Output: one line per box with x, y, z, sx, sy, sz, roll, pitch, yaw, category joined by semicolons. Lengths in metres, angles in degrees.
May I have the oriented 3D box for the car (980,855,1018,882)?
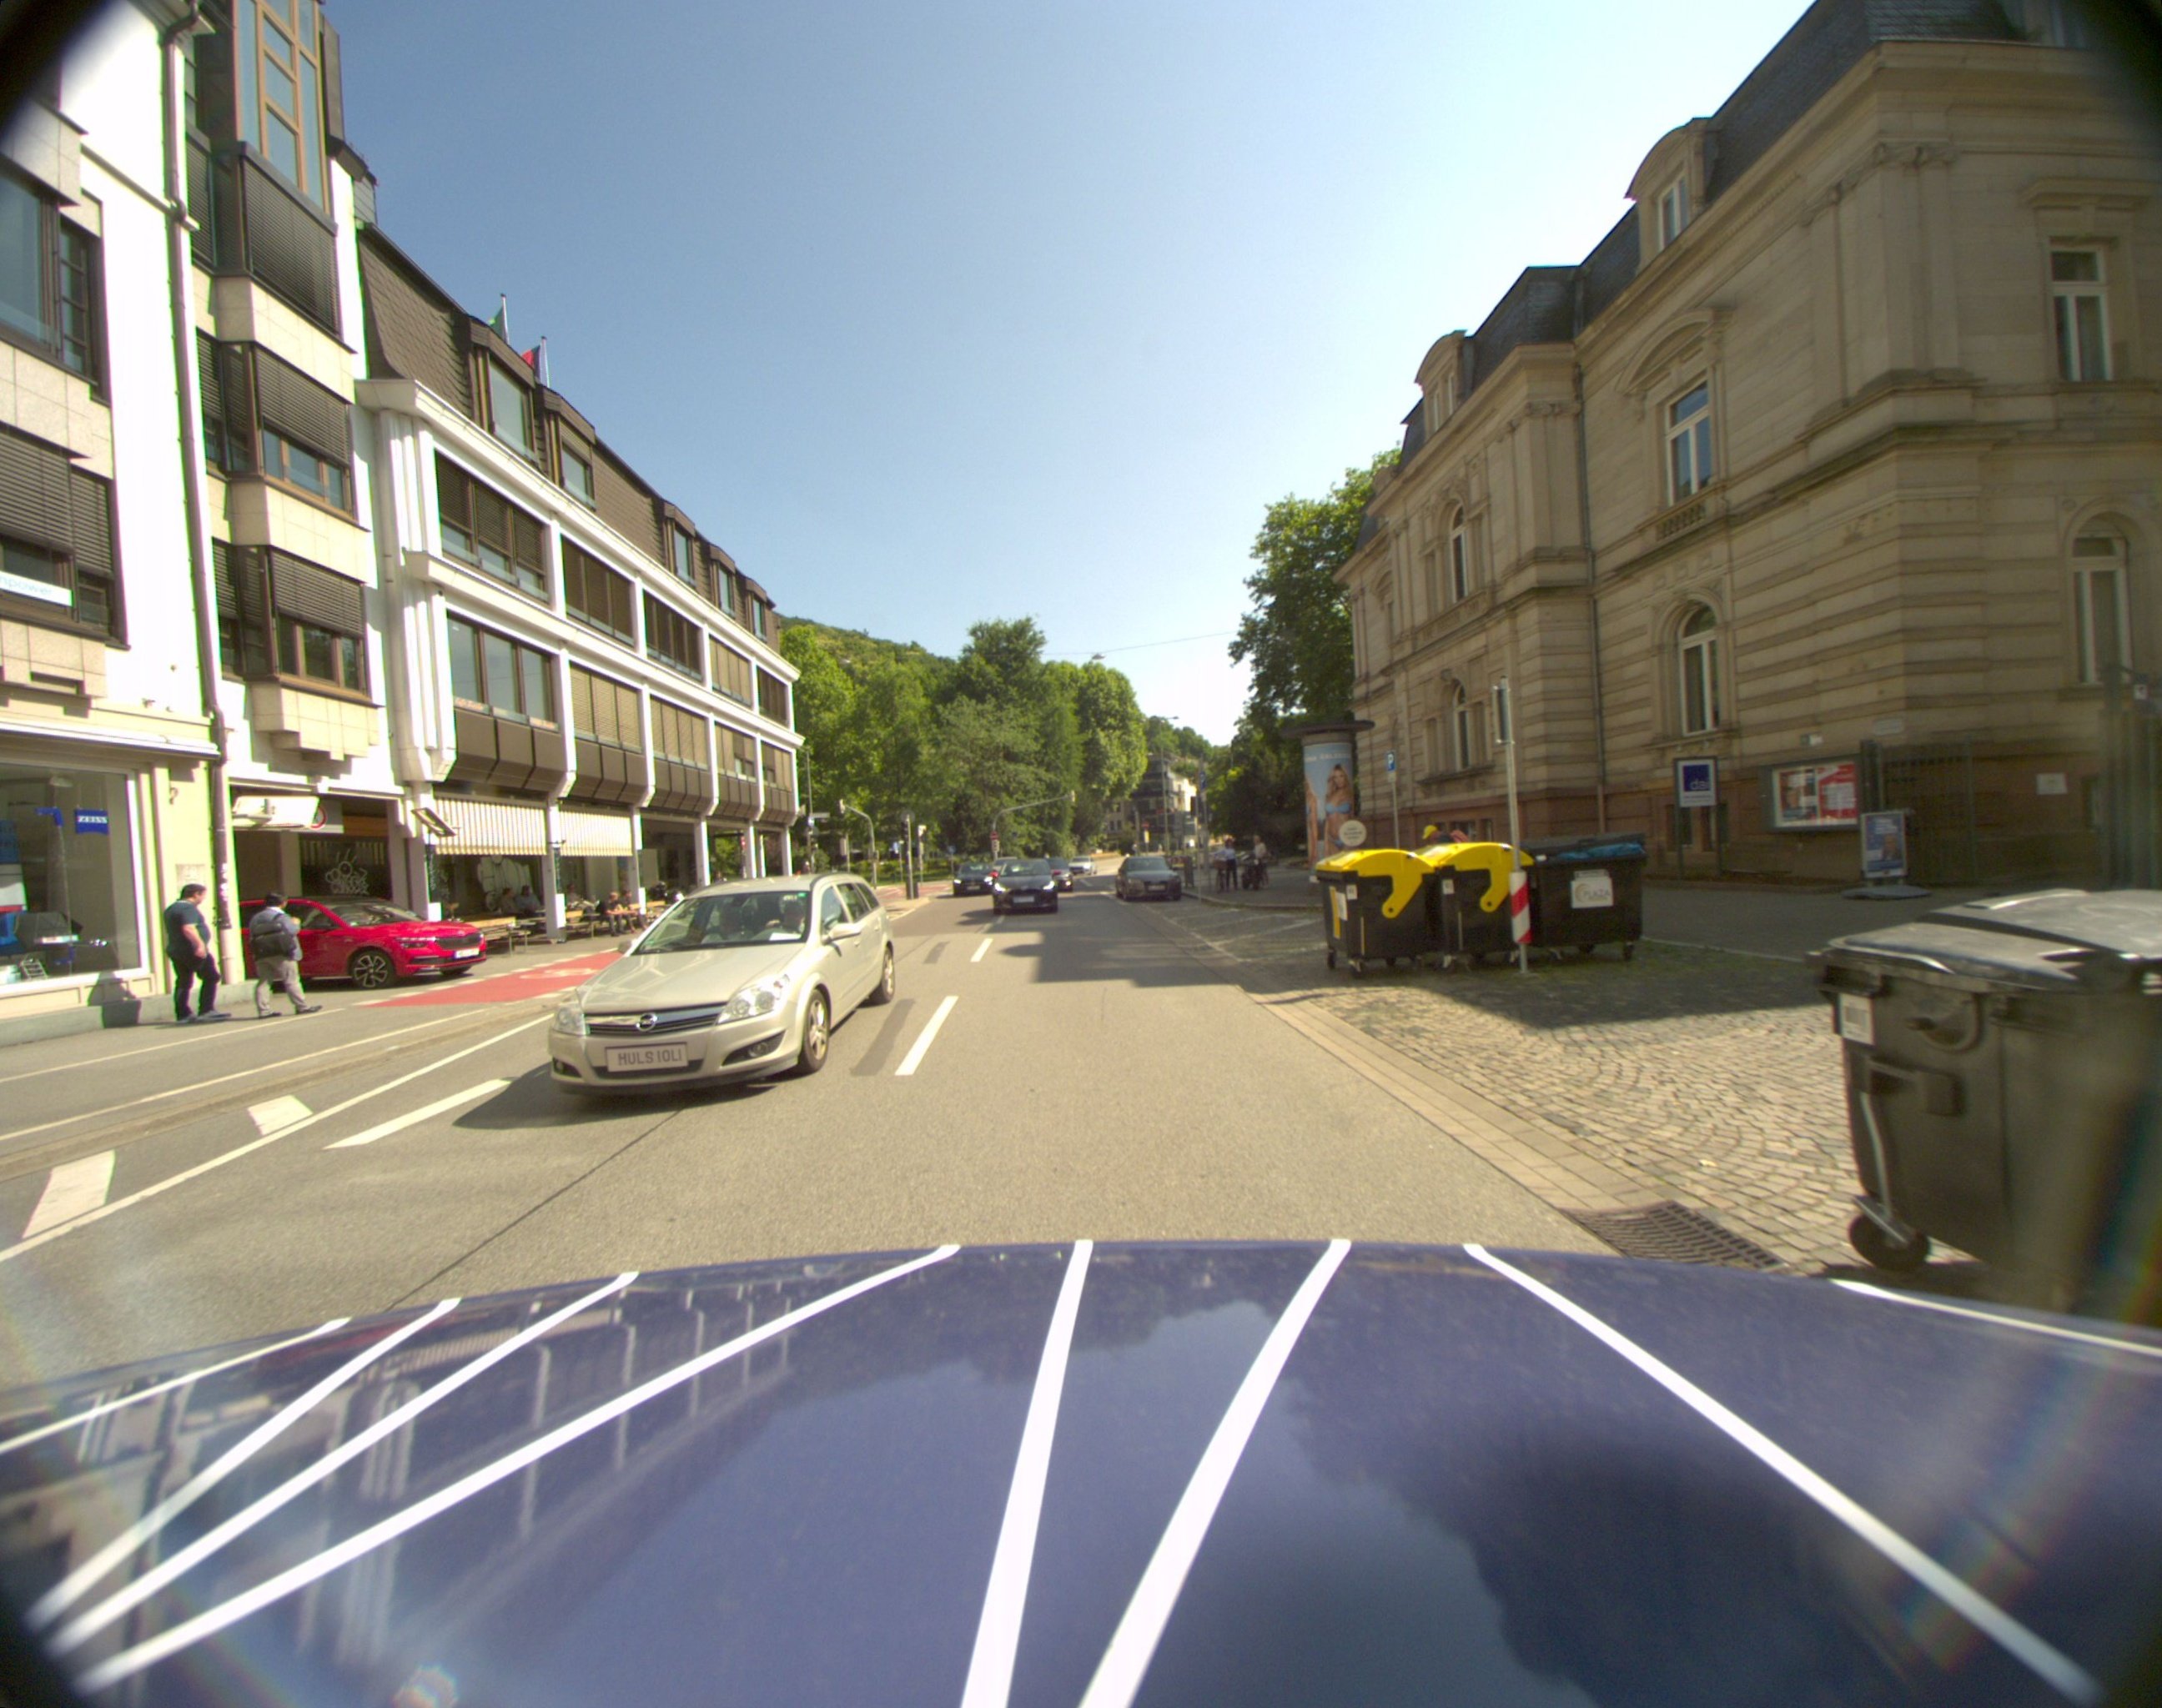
-4.902;0.836;45.941;1.942;1.421;4.341;-3;1;-2;car

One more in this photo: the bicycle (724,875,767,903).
-17.027;1.748;38.553;1.862;1.309;0.529;-2;0;-41;bicycle

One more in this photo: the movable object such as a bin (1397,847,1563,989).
4.600;0.700;8.918;1.126;1.442;1.439;-5;0;4;movable object such as a bin

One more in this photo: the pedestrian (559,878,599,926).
-15.699;1.491;23.776;0.713;1.389;0.696;-3;2;-3;pedestrian

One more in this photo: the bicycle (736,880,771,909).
-13.992;1.704;32.536;0.277;1.114;2.244;-3;0;6;bicycle

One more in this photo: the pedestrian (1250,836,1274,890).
5.722;0.266;24.017;0.550;1.656;0.937;-3;2;6;pedestrian

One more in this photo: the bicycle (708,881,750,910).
-14.383;1.682;31.036;1.574;1.114;0.278;-2;1;4;bicycle

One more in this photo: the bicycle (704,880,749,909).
-14.716;1.683;31.551;1.720;1.114;0.278;-2;1;4;bicycle

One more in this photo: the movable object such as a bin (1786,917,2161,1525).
3.145;0.910;2.249;1.280;1.292;0.853;-4;1;-2;movable object such as a bin

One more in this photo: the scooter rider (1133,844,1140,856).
7.534;-0.544;102.975;0.822;1.662;0.710;-2;2;19;scooter rider

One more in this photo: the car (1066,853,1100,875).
0.225;0.734;56.797;1.940;1.421;4.551;-3;1;7;car

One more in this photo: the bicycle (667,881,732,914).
-15.053;1.717;29.975;2.243;1.114;0.277;-4;1;-10;bicycle

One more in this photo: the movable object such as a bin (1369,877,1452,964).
4.516;0.897;10.437;0.725;1.091;0.656;-5;0;-10;movable object such as a bin

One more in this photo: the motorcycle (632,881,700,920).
-15.000;1.678;27.462;2.238;1.283;0.950;-2;2;26;motorcycle

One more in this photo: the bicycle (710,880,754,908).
-14.689;1.691;31.947;1.720;1.114;0.278;-2;1;4;bicycle

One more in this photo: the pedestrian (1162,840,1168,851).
13.521;-1.388;122.487;0.710;1.663;0.535;-3;2;19;pedestrian

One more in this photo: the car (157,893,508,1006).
-12.533;1.553;12.947;4.055;1.486;1.841;-3;0;-1;car

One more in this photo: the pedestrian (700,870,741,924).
-11.712;1.386;24.695;0.834;1.654;0.697;-3;2;6;pedestrian

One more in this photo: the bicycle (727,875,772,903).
-16.639;1.739;38.195;1.971;1.309;0.529;-2;0;-41;bicycle

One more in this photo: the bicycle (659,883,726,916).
-14.993;1.739;29.359;2.244;1.090;0.277;-4;1;-16;bicycle

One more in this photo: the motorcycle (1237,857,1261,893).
5.297;0.642;24.029;0.454;0.992;2.161;-5;1;7;motorcycle

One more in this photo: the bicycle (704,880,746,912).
-14.374;1.687;30.667;1.549;1.200;0.278;-4;1;4;bicycle

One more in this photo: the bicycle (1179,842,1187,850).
16.096;-1.209;120.158;0.758;1.114;2.003;-2;2;20;bicycle

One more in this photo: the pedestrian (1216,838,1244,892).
4.810;0.336;24.553;0.696;1.685;0.690;-3;2;0;pedestrian

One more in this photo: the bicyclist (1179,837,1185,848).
15.926;-1.761;119.748;0.765;1.627;0.944;-2;2;21;bicyclist

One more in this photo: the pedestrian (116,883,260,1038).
-11.451;1.332;9.775;0.696;1.840;0.835;-3;2;6;pedestrian

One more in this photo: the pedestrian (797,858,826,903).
-11.600;1.136;32.670;0.834;1.825;0.697;-3;2;6;pedestrian

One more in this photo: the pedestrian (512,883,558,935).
-15.618;1.561;21.731;0.713;1.389;0.696;-3;2;-3;pedestrian

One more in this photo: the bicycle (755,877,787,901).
-14.703;1.643;36.069;0.308;1.059;1.474;-2;1;33;bicycle

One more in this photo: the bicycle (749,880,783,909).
-13.563;1.721;32.751;0.277;1.114;2.244;-3;0;6;bicycle

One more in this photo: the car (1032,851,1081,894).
-1.099;0.770;33.240;1.890;1.674;4.141;-3;0;-3;car

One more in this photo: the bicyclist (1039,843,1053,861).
-3.277;-0.193;71.184;0.866;1.566;0.944;-2;2;17;bicyclist

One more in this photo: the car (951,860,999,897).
-4.622;1.044;33.432;1.849;1.420;4.210;-3;0;-7;car

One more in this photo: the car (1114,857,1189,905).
2.220;0.814;24.985;1.941;1.346;4.249;-3;0;-1;car

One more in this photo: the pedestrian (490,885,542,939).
-15.516;1.586;20.893;0.815;1.389;0.696;-3;2;-4;pedestrian

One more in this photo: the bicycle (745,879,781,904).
-14.673;1.730;35.118;0.376;1.059;1.474;-1;1;44;bicycle

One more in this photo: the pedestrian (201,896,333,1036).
-10.529;1.419;9.863;0.696;1.676;0.836;-3;1;6;pedestrian

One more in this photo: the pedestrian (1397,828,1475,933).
6.192;0.448;13.289;0.892;1.715;0.748;-4;1;-9;pedestrian

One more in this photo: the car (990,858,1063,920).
-1.546;0.903;21.563;1.811;1.443;3.952;-3;1;-4;car

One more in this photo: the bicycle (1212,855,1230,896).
4.454;0.654;24.263;0.430;1.114;2.244;-5;2;9;bicycle

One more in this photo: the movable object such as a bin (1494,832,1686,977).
5.751;0.545;8.723;1.211;1.442;1.364;-5;0;4;movable object such as a bin

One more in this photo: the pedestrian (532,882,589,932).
-15.651;1.579;22.877;0.898;1.343;1.105;-3;2;-3;pedestrian

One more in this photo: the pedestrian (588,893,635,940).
-12.663;1.687;20.509;0.713;1.166;0.697;-3;2;6;pedestrian

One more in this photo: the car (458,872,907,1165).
-2.859;1.027;6.727;1.712;1.513;4.405;-4;0;-2;car

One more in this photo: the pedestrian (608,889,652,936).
-12.669;1.641;21.365;0.713;1.210;0.697;-3;2;6;pedestrian

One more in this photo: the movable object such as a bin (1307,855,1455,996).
3.474;0.789;8.983;1.126;1.442;1.439;-5;0;4;movable object such as a bin
